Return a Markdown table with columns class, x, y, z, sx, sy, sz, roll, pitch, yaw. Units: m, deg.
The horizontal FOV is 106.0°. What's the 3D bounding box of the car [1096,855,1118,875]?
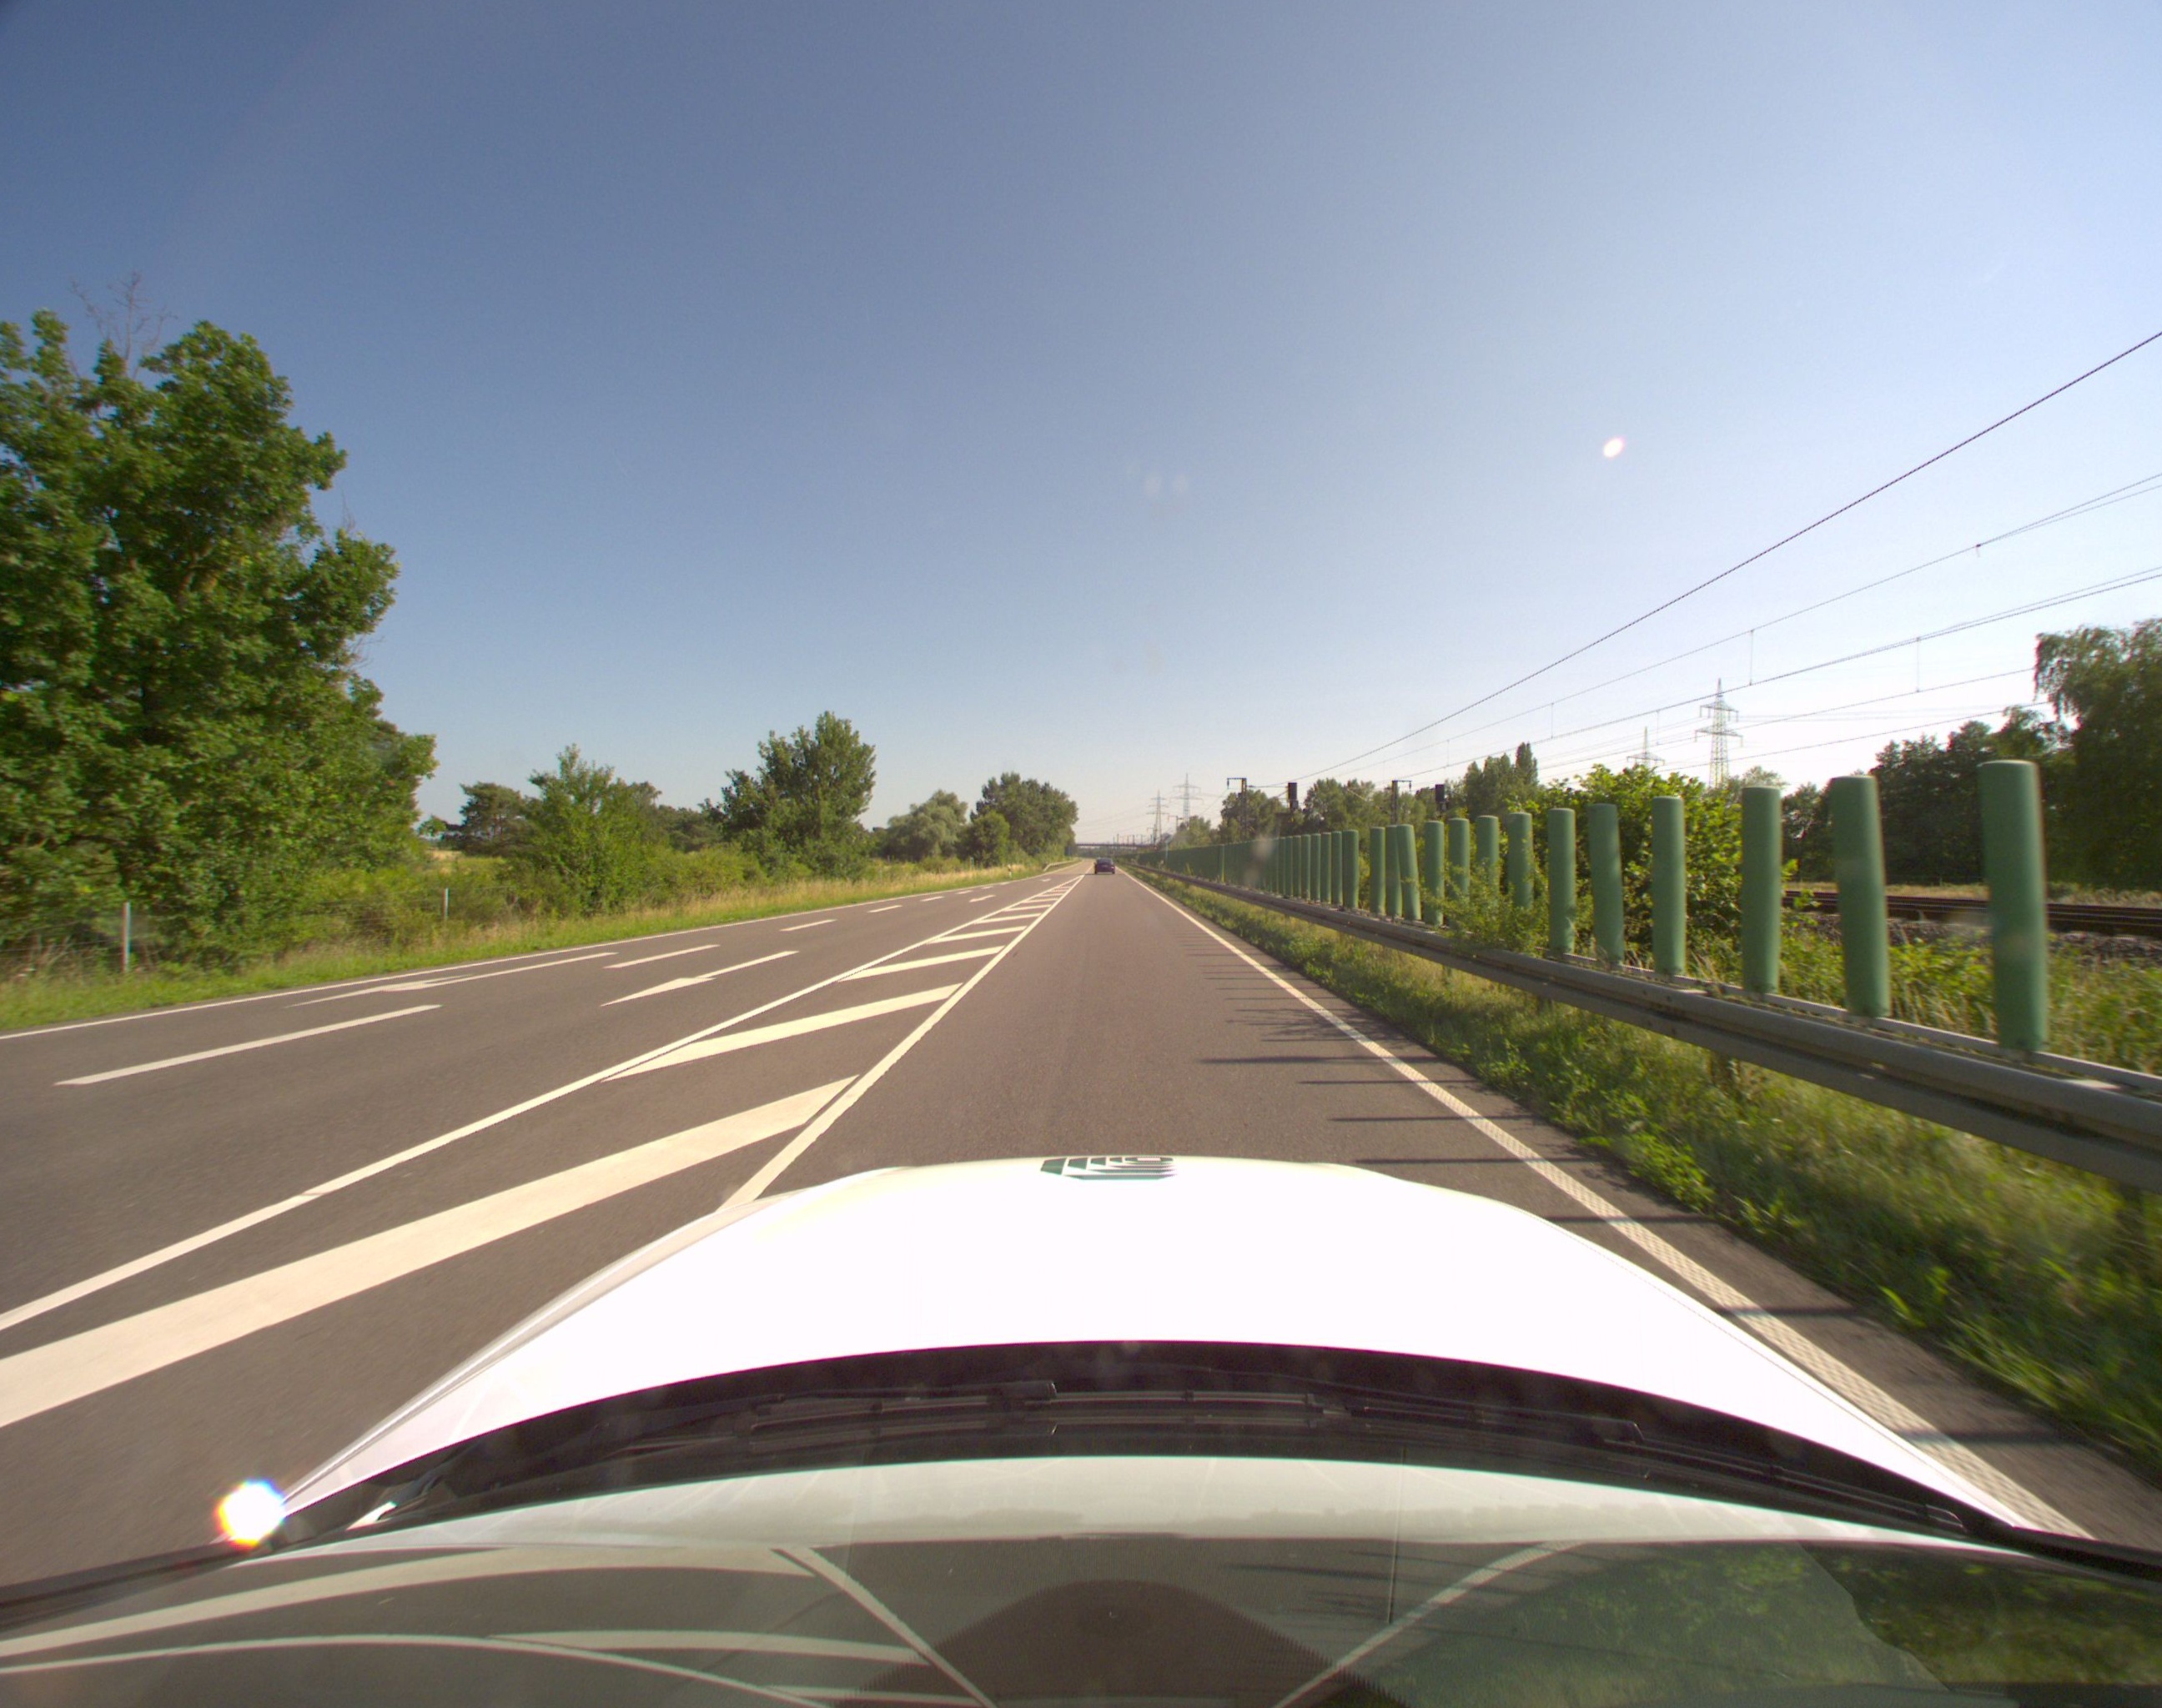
| class | x | y | z | sx | sy | sz | roll | pitch | yaw |
| --- | --- | --- | --- | --- | --- | --- | --- | --- | --- |
| car | 2.292 | 0.981 | 73.138 | 1.852 | 1.642 | 4.001 | -2 | 0 | 1 |
